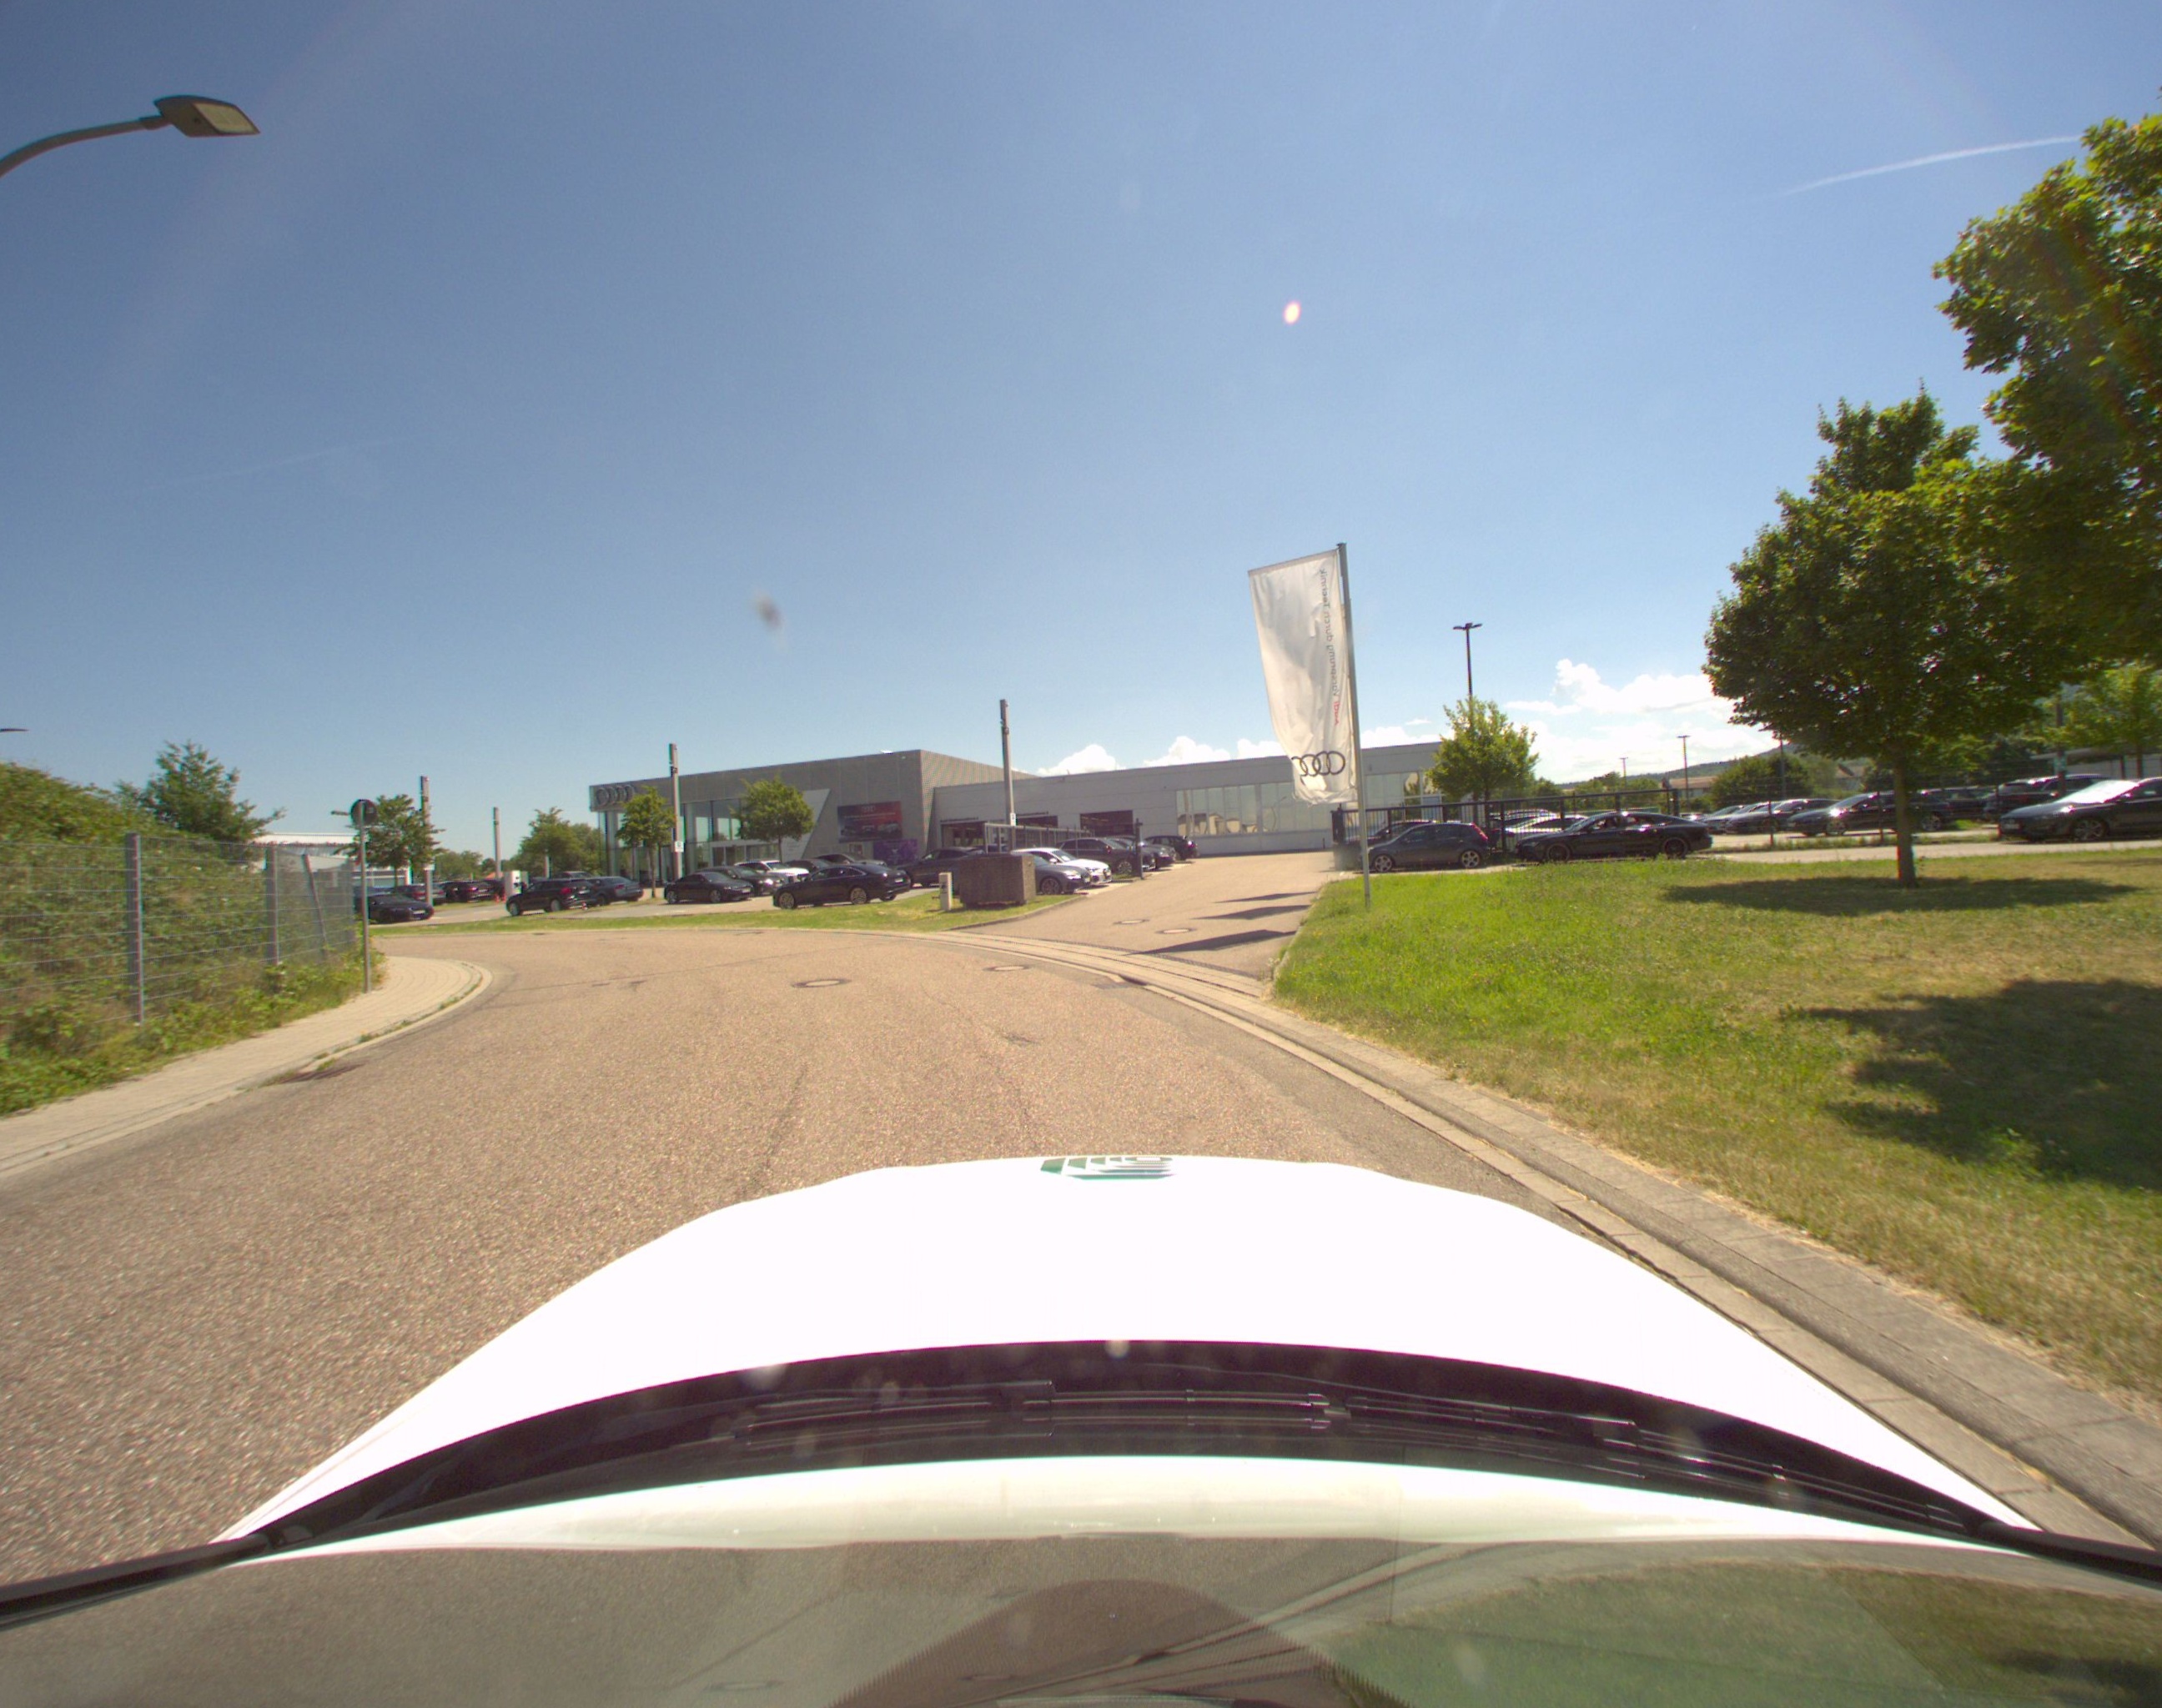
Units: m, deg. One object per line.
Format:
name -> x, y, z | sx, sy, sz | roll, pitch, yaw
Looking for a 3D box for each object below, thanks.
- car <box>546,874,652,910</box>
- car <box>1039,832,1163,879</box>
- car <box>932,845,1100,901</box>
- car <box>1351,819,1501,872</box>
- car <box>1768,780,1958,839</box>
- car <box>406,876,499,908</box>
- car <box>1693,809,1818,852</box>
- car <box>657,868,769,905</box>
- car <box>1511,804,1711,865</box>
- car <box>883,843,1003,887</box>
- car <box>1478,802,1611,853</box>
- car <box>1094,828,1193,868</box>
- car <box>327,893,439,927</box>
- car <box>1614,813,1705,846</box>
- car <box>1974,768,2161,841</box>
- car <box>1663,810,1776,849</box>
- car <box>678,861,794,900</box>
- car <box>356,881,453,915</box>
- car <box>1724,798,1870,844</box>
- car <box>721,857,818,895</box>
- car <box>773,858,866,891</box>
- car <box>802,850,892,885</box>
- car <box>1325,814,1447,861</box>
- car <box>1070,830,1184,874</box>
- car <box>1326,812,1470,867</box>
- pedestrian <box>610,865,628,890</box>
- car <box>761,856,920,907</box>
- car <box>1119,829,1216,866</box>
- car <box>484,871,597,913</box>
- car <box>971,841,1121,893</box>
car -> -23.038, 1.810, 38.972 | 4.180, 1.366, 1.977 | -3, 2, 18
car -> 0.833, 0.049, 33.298 | 4.574, 1.630, 1.977 | -3, 1, 18
car -> -2.055, 0.594, 26.108 | 4.889, 1.467, 1.977 | -3, 1, 18
car -> 10.642, -0.257, 25.339 | 4.097, 1.349, 1.790 | -3, 0, 21
car -> 27.769, -1.525, 29.087 | 4.431, 1.688, 2.008 | -3, -1, 14
car -> -38.131, 2.308, 49.426 | 4.929, 1.456, 1.977 | -5, 0, 19
car -> 31.476, -1.078, 38.142 | 3.958, 1.688, 2.008 | -3, -1, 14
car -> -16.441, 1.456, 36.453 | 4.263, 1.375, 1.977 | -3, 1, 18
car -> 15.086, -0.532, 23.487 | 4.519, 1.401, 1.790 | -3, 0, 21
car -> -6.003, 0.475, 35.406 | 4.732, 1.643, 1.839 | -3, -1, 18
car -> 17.955, -1.010, 31.776 | 4.166, 1.630, 1.804 | -4, -1, 18
car -> 3.025, -0.283, 39.331 | 4.328, 1.630, 1.977 | -3, 1, 18
car -> -34.163, 2.752, 39.862 | 4.667, 1.366, 1.978 | -2, 2, 19
car -> 34.967, -1.477, 49.320 | 3.958, 1.688, 2.008 | -3, -1, 14
car -> 25.498, -1.246, 20.039 | 4.354, 1.566, 1.790 | -3, 0, 21
car -> 32.173, -1.211, 41.145 | 3.958, 1.688, 2.008 | -3, -1, 14
car -> -16.615, 1.280, 39.276 | 4.949, 1.553, 1.977 | -3, 1, 18
car -> -39.139, 2.537, 47.125 | 4.929, 1.456, 1.977 | -5, 0, 19
car -> 29.486, -1.308, 33.708 | 3.956, 1.556, 2.122 | -4, -1, 16
car -> -15.924, 1.126, 41.725 | 4.240, 1.613, 1.977 | -3, 1, 18
car -> -14.114, 1.126, 44.017 | 4.323, 1.476, 1.977 | -3, 1, 18
car -> -13.807, 0.810, 48.068 | 4.676, 1.739, 1.977 | -3, 1, 18
car -> 12.674, -0.694, 34.070 | 4.574, 1.630, 1.977 | -3, 1, 18
car -> 2.032, -0.085, 35.934 | 4.574, 1.630, 1.977 | -3, 1, 18
car -> 11.212, -0.511, 29.075 | 4.574, 1.630, 1.977 | -3, 1, 18
pedestrian -> -34.553, 1.737, 60.931 | 0.736, 1.776, 0.777 | -4, 0, 24
car -> -8.289, 0.952, 28.149 | 4.967, 1.454, 1.894 | -3, 1, 18
car -> 4.497, -0.353, 42.012 | 4.574, 1.630, 1.977 | -3, 1, 18
car -> -24.114, 1.689, 36.369 | 4.180, 1.571, 1.903 | -3, 2, 18
car -> -1.222, 0.459, 28.730 | 4.889, 1.528, 1.834 | -3, 1, 18
